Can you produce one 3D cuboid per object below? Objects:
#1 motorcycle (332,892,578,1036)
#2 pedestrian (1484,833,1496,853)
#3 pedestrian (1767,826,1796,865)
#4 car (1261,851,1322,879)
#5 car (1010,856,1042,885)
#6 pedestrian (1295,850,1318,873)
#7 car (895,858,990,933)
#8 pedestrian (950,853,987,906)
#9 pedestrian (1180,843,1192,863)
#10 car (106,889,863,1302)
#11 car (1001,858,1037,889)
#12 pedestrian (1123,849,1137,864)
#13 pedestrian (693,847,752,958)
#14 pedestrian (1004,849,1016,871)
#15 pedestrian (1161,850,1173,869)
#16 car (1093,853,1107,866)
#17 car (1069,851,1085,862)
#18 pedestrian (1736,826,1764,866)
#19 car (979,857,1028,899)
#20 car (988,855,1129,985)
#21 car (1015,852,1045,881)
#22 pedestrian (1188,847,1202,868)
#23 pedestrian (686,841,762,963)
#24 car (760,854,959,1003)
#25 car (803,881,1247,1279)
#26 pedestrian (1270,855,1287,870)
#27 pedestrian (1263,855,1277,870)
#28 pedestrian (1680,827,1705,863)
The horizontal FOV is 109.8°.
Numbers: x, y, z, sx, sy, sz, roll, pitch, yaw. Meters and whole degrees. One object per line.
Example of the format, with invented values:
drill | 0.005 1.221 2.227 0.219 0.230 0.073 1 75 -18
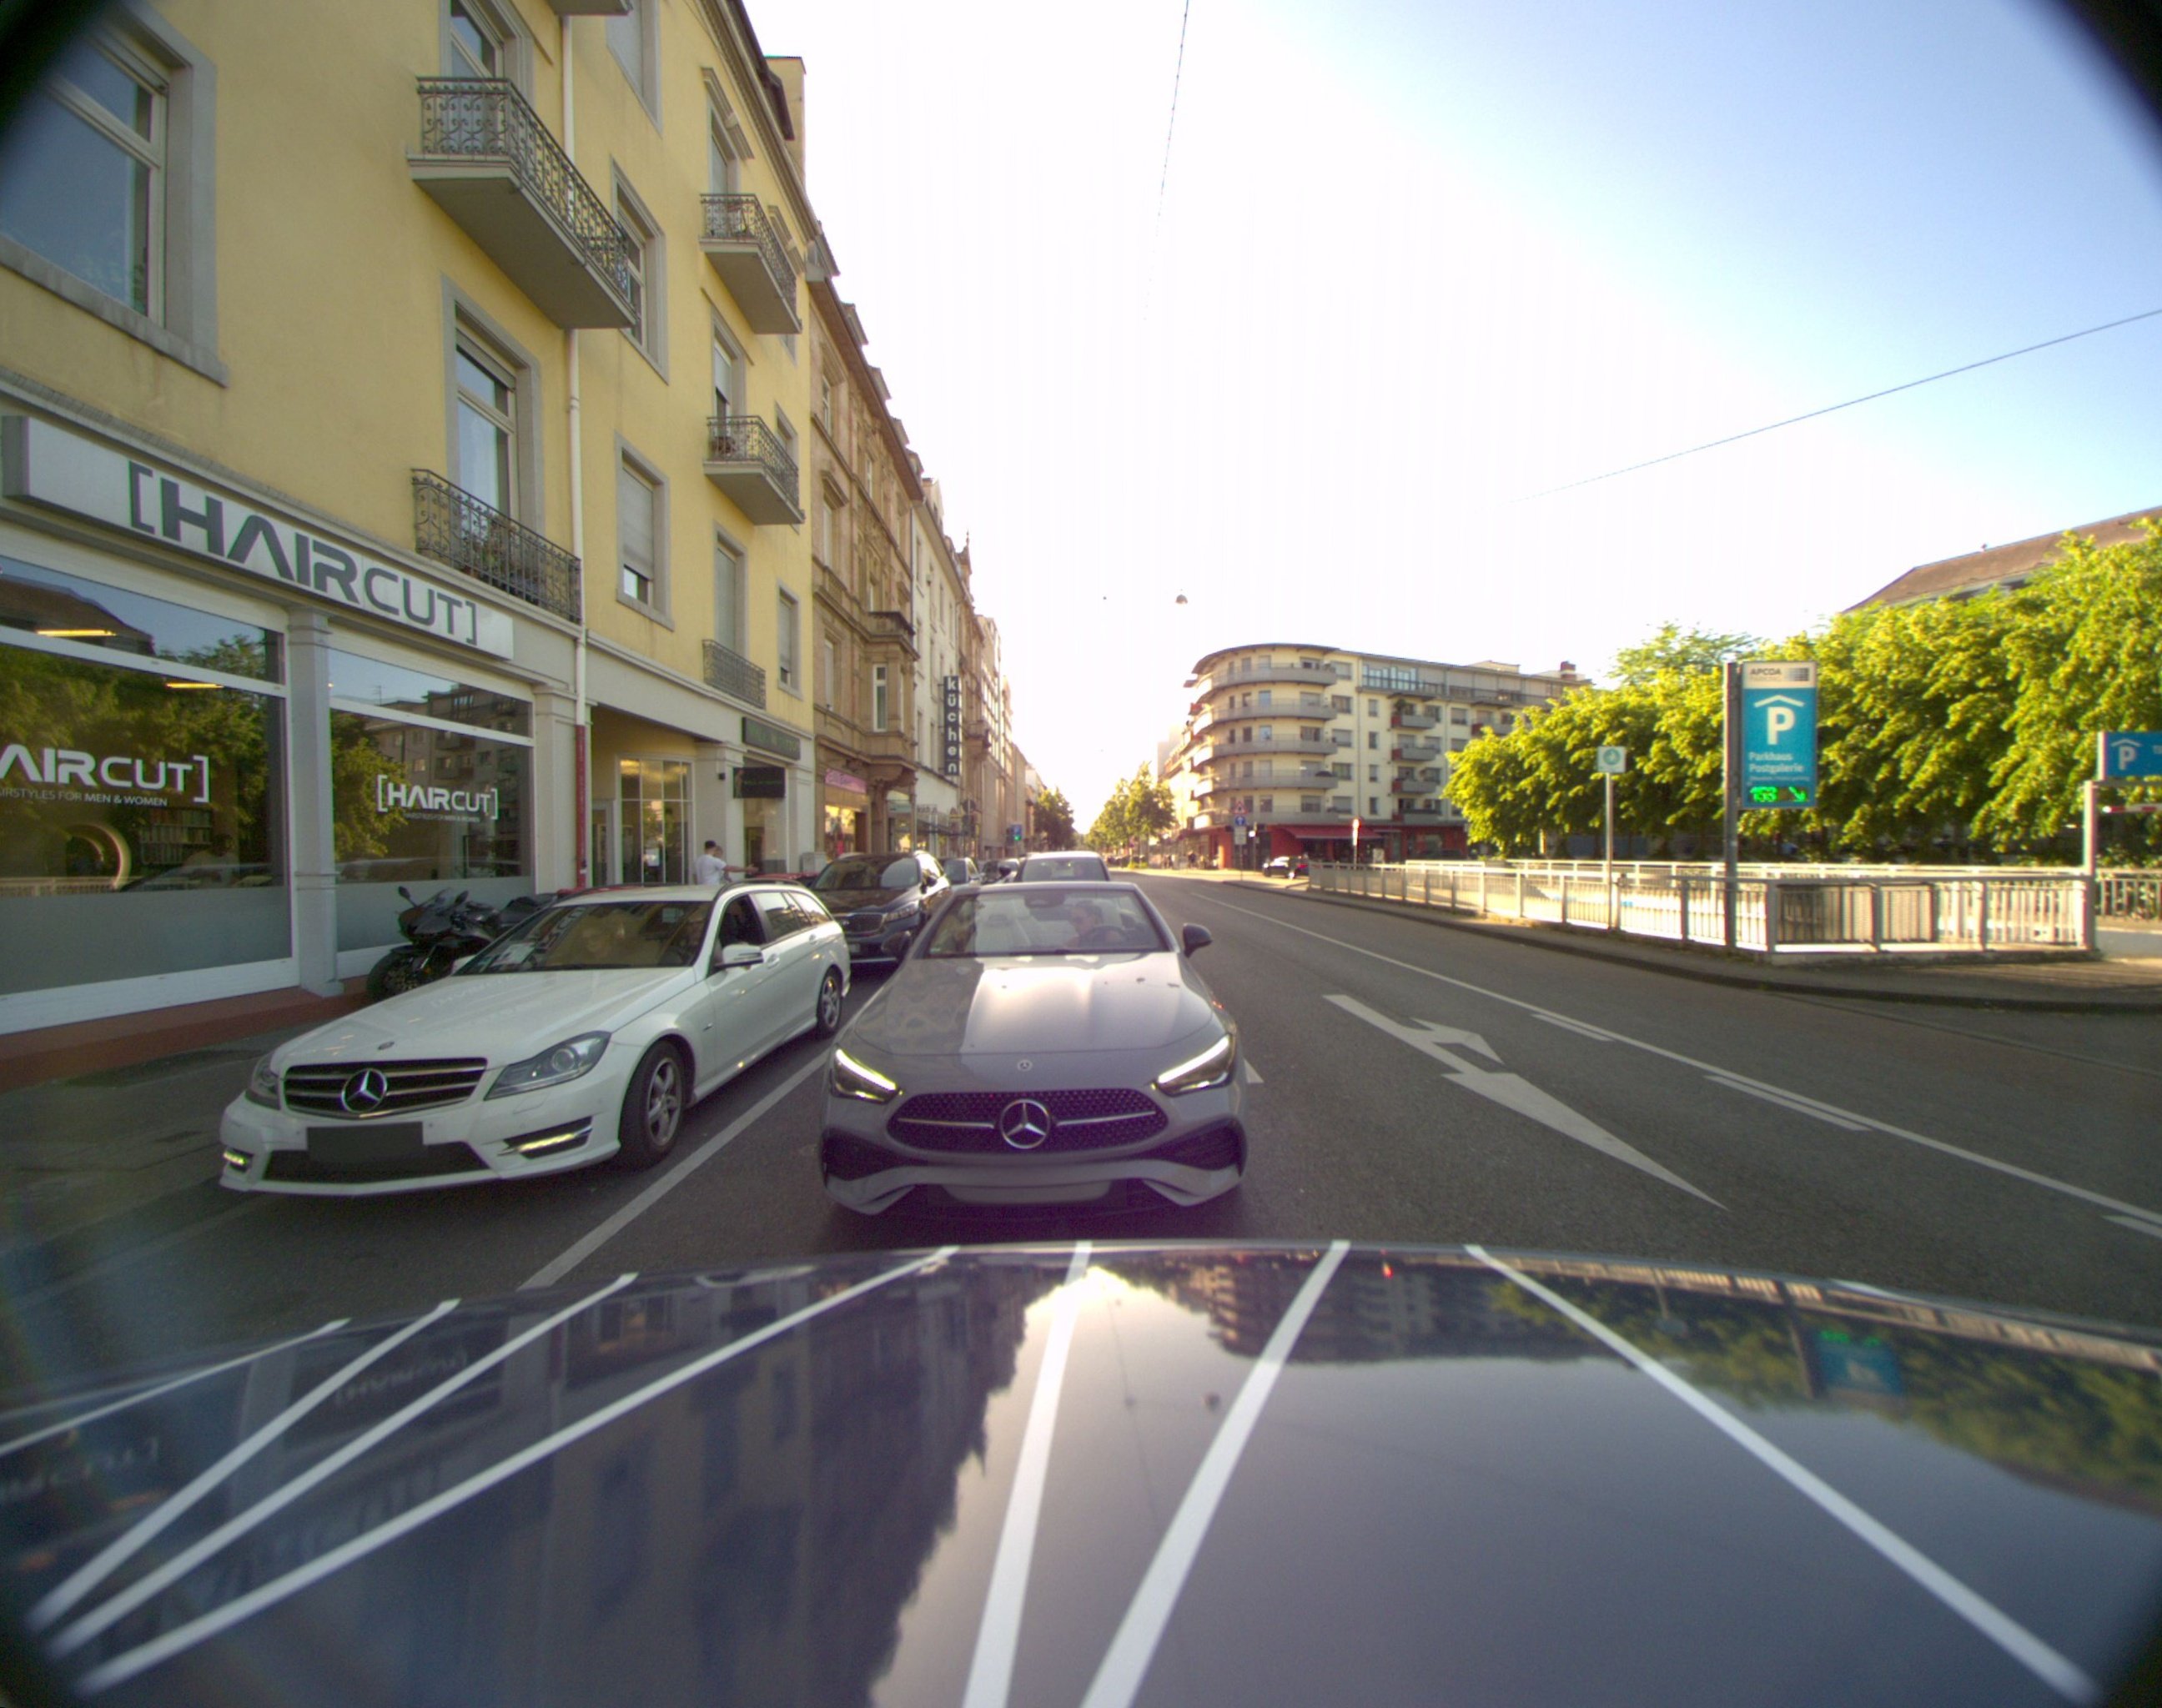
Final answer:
motorcycle | -6.253 1.029 7.789 0.735 1.124 2.109 2 1 1
pedestrian | 38.364 -0.992 71.223 0.747 1.832 0.684 -2 1 1
pedestrian | 33.677 -0.428 36.534 0.748 1.832 0.683 -2 1 -13
car | 13.438 0.673 48.845 1.678 1.522 4.241 2 2 -17
car | -2.941 0.873 40.950 1.461 1.391 3.363 -2 1 -1
pedestrian | 16.706 0.527 56.334 1.269 1.656 1.142 -1 1 39
car | -3.179 0.912 17.989 1.583 1.514 2.998 -2 1 1
pedestrian | -3.753 0.844 25.340 0.821 1.709 0.835 -3 1 -39
pedestrian | 10.476 -0.082 75.517 0.990 1.908 0.790 -2 1 -3
car | -3.023 1.078 5.247 1.672 1.364 4.377 -2 1 1
car | -2.953 0.907 36.681 1.461 1.310 3.363 -2 1 -1
pedestrian | 6.128 0.276 95.048 1.223 1.826 1.201 -3 1 -21
pedestrian | -6.146 0.800 13.060 0.630 1.826 0.770 -2 1 -7
pedestrian | -5.793 0.505 61.966 0.826 1.750 0.823 -2 1 -1
pedestrian | 7.925 0.527 69.942 1.068 1.709 1.081 -2 1 5
car | 2.932 0.873 116.096 1.836 1.831 3.886 1 1 -2
car | -0.604 0.335 105.881 1.696 1.437 3.573 -2 1 -8
pedestrian | 32.253 -0.384 36.653 0.748 1.852 0.683 -2 1 -13
car | -3.025 0.909 30.312 1.695 1.482 3.796 -2 1 -3
car | -0.363 0.900 12.758 1.866 1.658 4.706 -2 1 -2
car | -3.152 0.724 47.548 1.695 1.670 3.880 -2 1 -3
pedestrian | 9.949 0.319 66.541 1.060 1.739 0.962 -2 1 1
pedestrian | -5.731 0.737 12.206 0.975 1.866 0.534 -3 1 -31
car | -3.011 0.896 11.338 1.806 1.680 4.408 -2 1 -3
car | -0.279 1.003 5.358 1.769 1.360 4.471 -2 1 -2
pedestrian | 15.430 0.661 59.381 0.937 1.191 0.832 -3 1 -24
pedestrian | 14.923 0.673 60.039 0.780 1.191 0.884 -2 1 -10
pedestrian | 31.818 -0.462 39.551 0.748 1.832 0.683 -3 1 -21
